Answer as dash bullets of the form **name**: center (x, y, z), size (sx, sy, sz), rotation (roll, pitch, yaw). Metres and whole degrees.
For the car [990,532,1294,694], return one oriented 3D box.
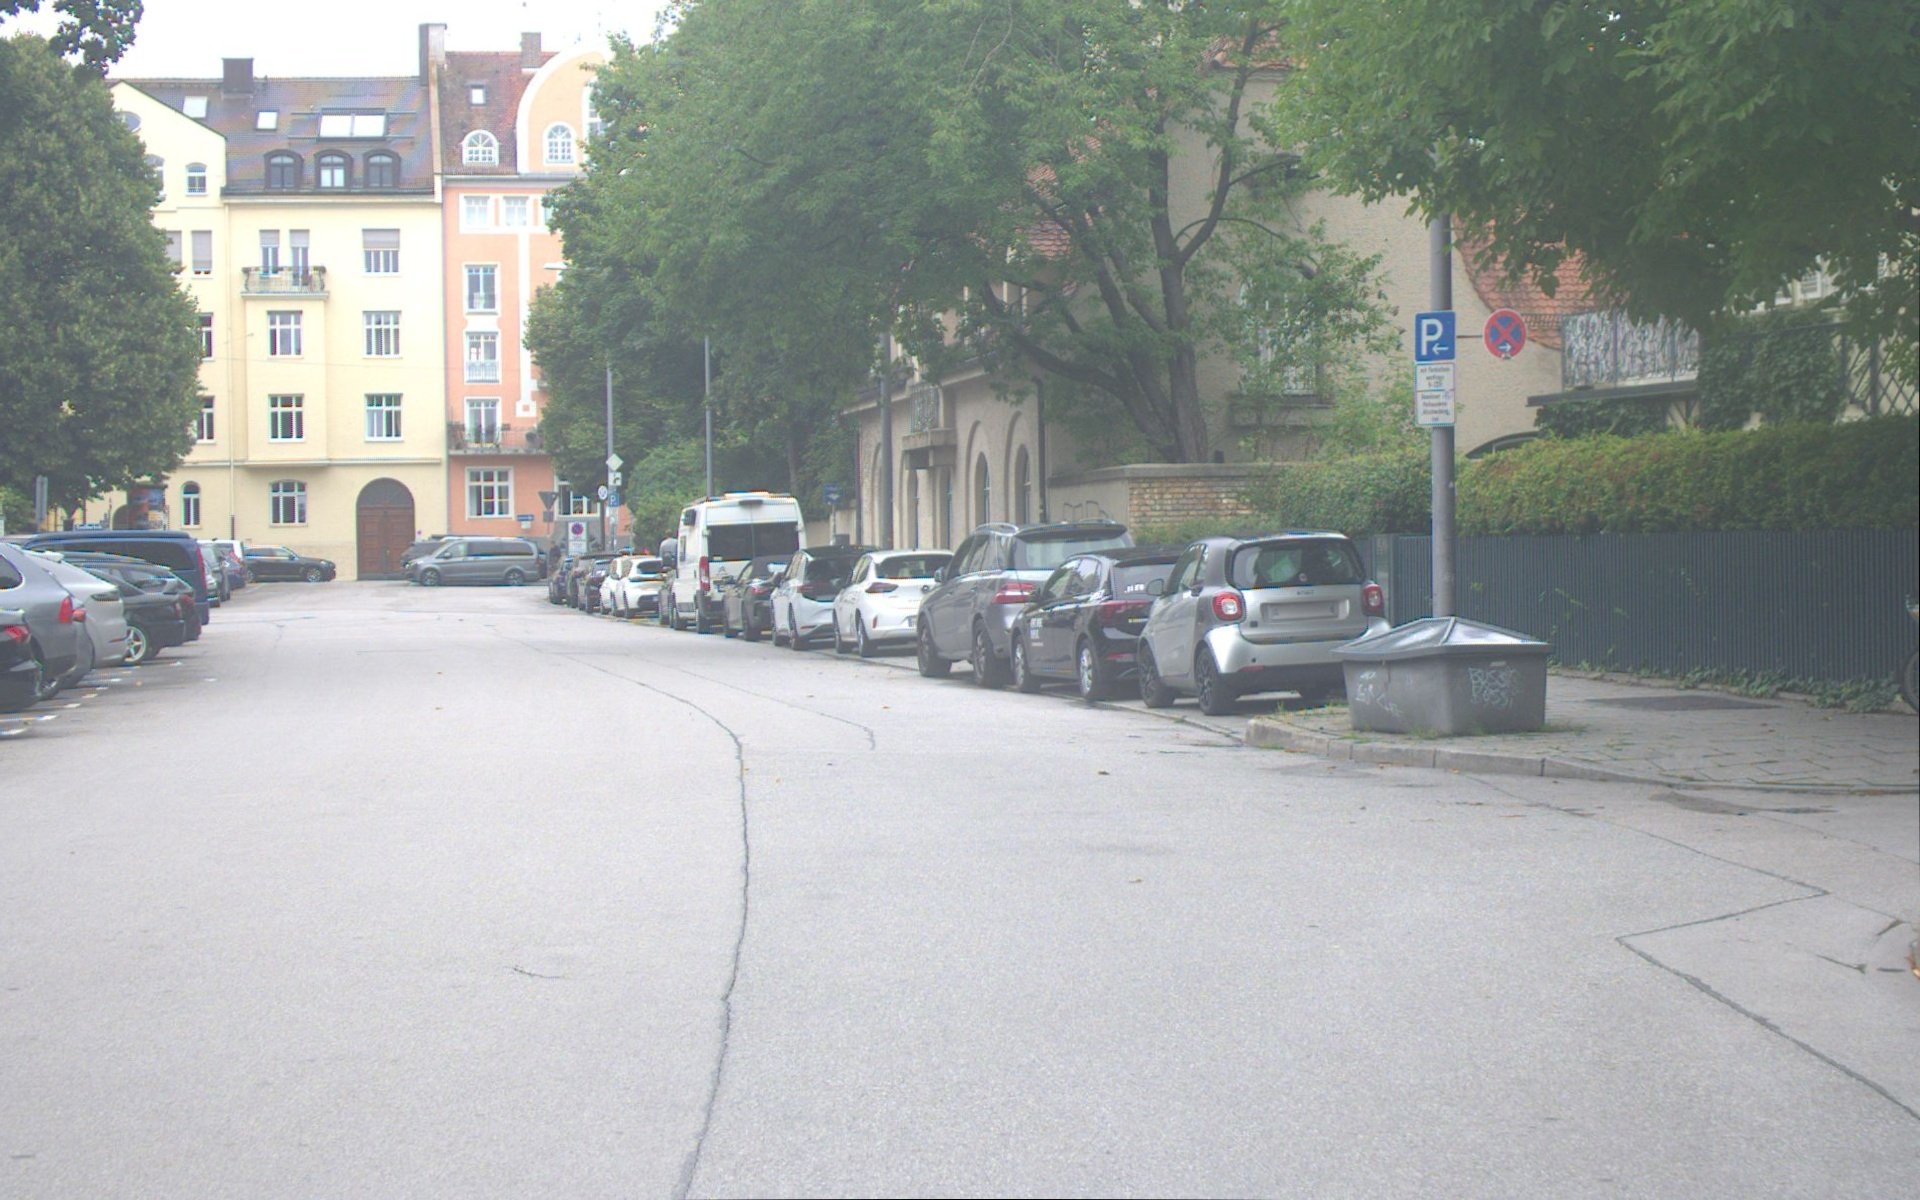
- **car**: center (1.720, 0.083, 33.992), size (1.876, 1.422, 4.223), rotation (-3, 1, -13)

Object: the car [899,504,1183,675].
- **car**: center (0.814, -0.150, 38.546), size (1.993, 1.705, 4.886), rotation (-3, 1, -13)

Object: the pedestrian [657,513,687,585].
- **pedestrian**: center (-8.081, -1.429, 96.350), size (0.772, 2.007, 0.563), rotation (-1, 1, -10)

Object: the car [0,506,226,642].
- **car**: center (-14.466, -0.437, 56.675), size (4.205, 2.059, 1.737), rotation (-3, 2, -39)

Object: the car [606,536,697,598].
- **car**: center (-7.522, -0.810, 83.546), size (1.707, 1.403, 4.131), rotation (-2, 1, -11)

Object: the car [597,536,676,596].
- **car**: center (-8.350, -0.889, 88.419), size (1.707, 1.461, 3.838), rotation (-2, 1, -9)

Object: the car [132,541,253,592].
- **car**: center (-26.905, -1.175, 120.588), size (3.986, 1.503, 1.841), rotation (-4, 1, -10)

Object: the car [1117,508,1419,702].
- **car**: center (2.627, 0.033, 29.945), size (1.738, 1.531, 2.947), rotation (-3, 1, -13)

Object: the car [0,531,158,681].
- **car**: center (-11.509, 0.094, 38.619), size (4.398, 1.615, 2.086), rotation (-2, 1, -31)

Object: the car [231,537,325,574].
- **car**: center (-30.327, -1.992, 152.993), size (3.986, 1.581, 1.704), rotation (-1, 1, -9)

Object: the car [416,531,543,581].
- **car**: center (-18.489, -1.688, 132.181), size (4.702, 1.874, 1.841), rotation (-1, 1, -11)

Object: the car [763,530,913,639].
- **car**: center (-1.918, -0.266, 53.030), size (1.707, 1.532, 4.241), rotation (-3, 1, -9)

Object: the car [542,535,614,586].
- **car**: center (-11.424, -1.185, 102.757), size (1.669, 1.339, 3.839), rotation (-2, 3, -13)

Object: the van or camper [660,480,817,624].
- **van or camper**: center (-4.273, -0.922, 65.466), size (2.191, 2.541, 5.730), rotation (-2, 1, -11)

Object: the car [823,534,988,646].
- **car**: center (-0.802, -0.148, 48.005), size (1.685, 1.436, 4.001), rotation (-2, 1, -9)

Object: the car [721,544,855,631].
- **car**: center (-2.985, -0.243, 58.728), size (1.707, 1.364, 4.442), rotation (-2, 1, -10)

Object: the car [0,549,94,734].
- **car**: center (-9.234, 0.377, 26.750), size (4.400, 1.434, 1.965), rotation (-2, 1, -40)

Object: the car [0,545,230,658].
- **car**: center (-12.811, 0.023, 49.245), size (4.204, 1.456, 1.737), rotation (-3, 2, -31)

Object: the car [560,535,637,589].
- **car**: center (-10.316, -1.103, 97.950), size (1.669, 1.339, 3.839), rotation (-2, 3, -13)

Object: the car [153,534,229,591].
- **car**: center (-22.102, -1.084, 98.935), size (1.834, 1.503, 4.001), rotation (-4, 2, -10)

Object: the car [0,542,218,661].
- **car**: center (-12.375, 0.030, 46.498), size (4.206, 1.456, 1.736), rotation (-3, 2, -40)

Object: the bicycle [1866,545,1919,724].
- **bicycle**: center (6.703, 0.228, 22.345), size (0.806, 1.158, 1.974), rotation (-1, 2, -10)

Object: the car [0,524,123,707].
- **car**: center (-10.396, 0.182, 32.314), size (4.400, 1.693, 2.136), rotation (-2, 1, -42)
